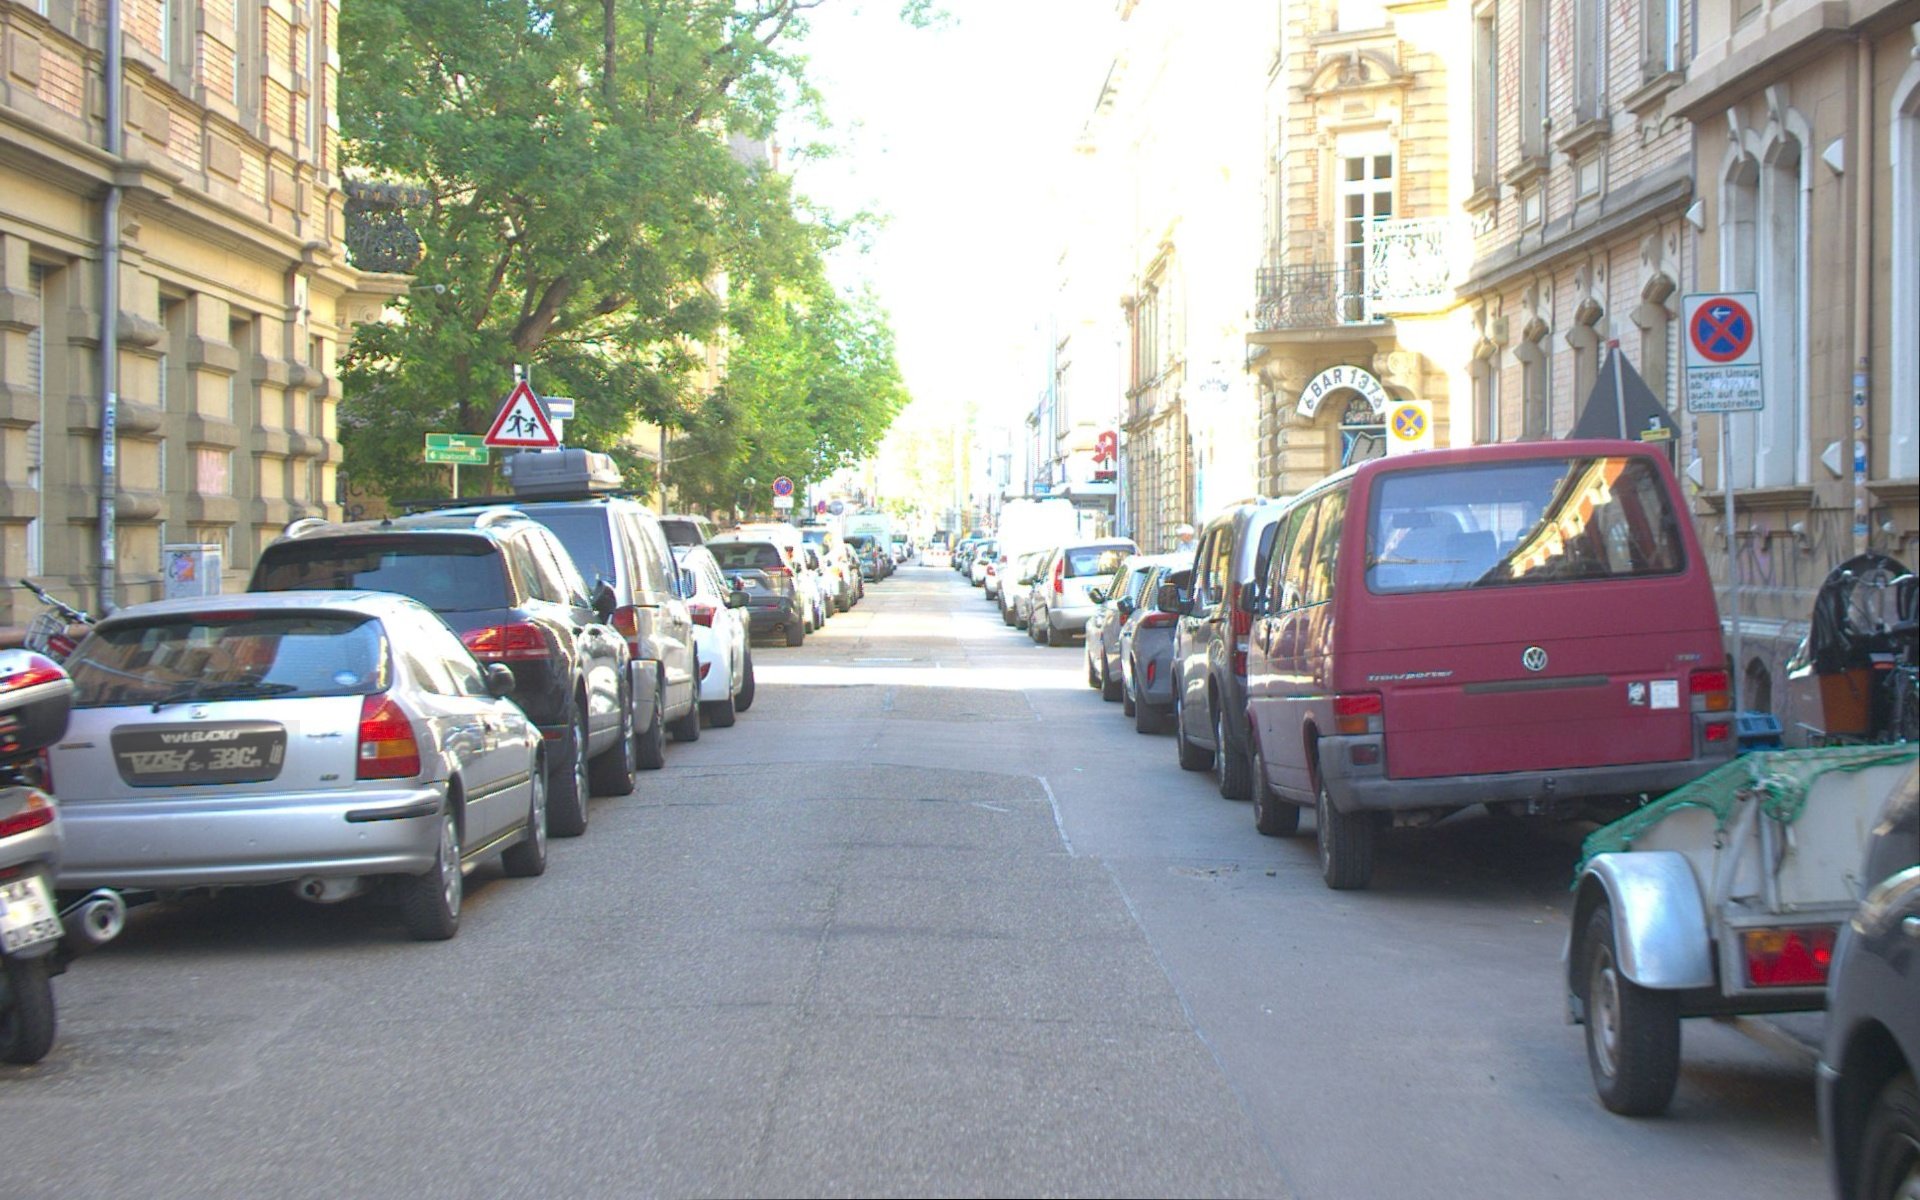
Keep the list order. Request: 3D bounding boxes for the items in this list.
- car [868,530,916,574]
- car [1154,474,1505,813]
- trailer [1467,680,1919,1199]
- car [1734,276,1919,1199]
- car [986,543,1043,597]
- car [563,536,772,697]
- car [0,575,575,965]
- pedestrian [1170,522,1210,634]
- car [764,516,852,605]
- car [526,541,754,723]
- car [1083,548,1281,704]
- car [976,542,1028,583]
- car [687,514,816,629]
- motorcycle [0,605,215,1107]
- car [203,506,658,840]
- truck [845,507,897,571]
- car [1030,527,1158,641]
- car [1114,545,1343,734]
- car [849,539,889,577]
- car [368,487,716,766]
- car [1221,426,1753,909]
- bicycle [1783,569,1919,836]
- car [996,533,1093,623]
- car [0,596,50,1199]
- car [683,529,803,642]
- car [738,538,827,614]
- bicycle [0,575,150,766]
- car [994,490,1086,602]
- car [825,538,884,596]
[{"bbox_3d":[-2.770,-1.955,139.893,1.875,1.790,4.000,0,1,0],"label":"car"},{"bbox_3d":[2.302,0.218,22.449,1.769,1.954,4.264,2,1,0],"label":"car"},{"bbox_3d":[2.465,0.883,9.540,1.504,1.109,3.039,3,1,-2],"label":"trailer"},{"bbox_3d":[2.442,0.528,4.234,1.845,1.977,4.576,2,1,-1],"label":"car"},{"bbox_3d":[1.585,-0.886,99.682,1.604,1.499,4.000,1,1,1],"label":"car"},{"bbox_3d":[-2.884,0.120,34.566,1.722,1.476,4.090,2,1,0],"label":"car"},{"bbox_3d":[-2.732,0.607,14.555,1.698,1.309,4.000,3,1,0],"label":"car"},{"bbox_3d":[3.586,-0.352,53.666,0.574,1.727,0.664,-1,1,5],"label":"pedestrian"},{"bbox_3d":[-3.496,-0.926,79.730,1.864,1.950,4.610,-2,1,-1],"label":"car"},{"bbox_3d":[-2.680,0.224,29.491,1.674,1.416,3.875,1,1,-2],"label":"car"},{"bbox_3d":[2.221,0.216,35.405,1.706,1.454,4.511,2,1,0],"label":"car"},{"bbox_3d":[1.540,-1.418,128.070,1.897,1.483,3.869,0,1,0],"label":"car"},{"bbox_3d":[-3.485,-0.519,58.035,1.845,1.856,4.465,0,1,1],"label":"car"},{"bbox_3d":[-3.237,0.728,10.469,0.842,1.355,2.195,-3,1,-43],"label":"motorcycle"},{"bbox_3d":[-2.850,0.328,19.467,1.788,1.619,4.608,2,1,1],"label":"car"},{"bbox_3d":[-4.596,-3.161,178.413,2.532,3.270,6.995,0,1,0],"label":"truck"},{"bbox_3d":[2.078,-0.277,54.226,1.703,1.708,3.938,-1,1,-2],"label":"car"},{"bbox_3d":[2.250,0.286,29.613,1.666,1.474,3.888,0,2,0],"label":"car"},{"bbox_3d":[-4.291,-1.982,162.037,1.875,1.790,4.000,0,1,-2],"label":"car"},{"bbox_3d":[-2.900,0.138,24.830,1.892,1.778,4.608,2,1,0],"label":"car"},{"bbox_3d":[2.423,0.245,17.006,1.832,2.007,4.742,2,1,0],"label":"car"},{"bbox_3d":[4.961,0.513,18.223,0.727,1.299,1.692,-3,1,0],"label":"bicycle"},{"bbox_3d":[1.656,-0.445,68.902,1.808,1.684,4.214,2,0,0],"label":"car"},{"bbox_3d":[-2.859,0.753,5.706,1.674,1.414,4.000,-1,1,-1],"label":"car"},{"bbox_3d":[-3.278,-0.251,52.487,1.740,1.641,4.289,0,1,-3],"label":"car"},{"bbox_3d":[-3.814,-0.543,74.379,1.742,1.581,3.869,0,1,0],"label":"car"},{"bbox_3d":[-5.802,0.433,22.204,0.667,1.121,1.785,3,1,0],"label":"bicycle"},{"bbox_3d":[1.910,-1.332,83.735,2.068,2.602,5.888,1,1,0],"label":"car"},{"bbox_3d":[-3.081,-0.988,100.661,1.600,1.608,3.808,-2,1,-1],"label":"car"}]
